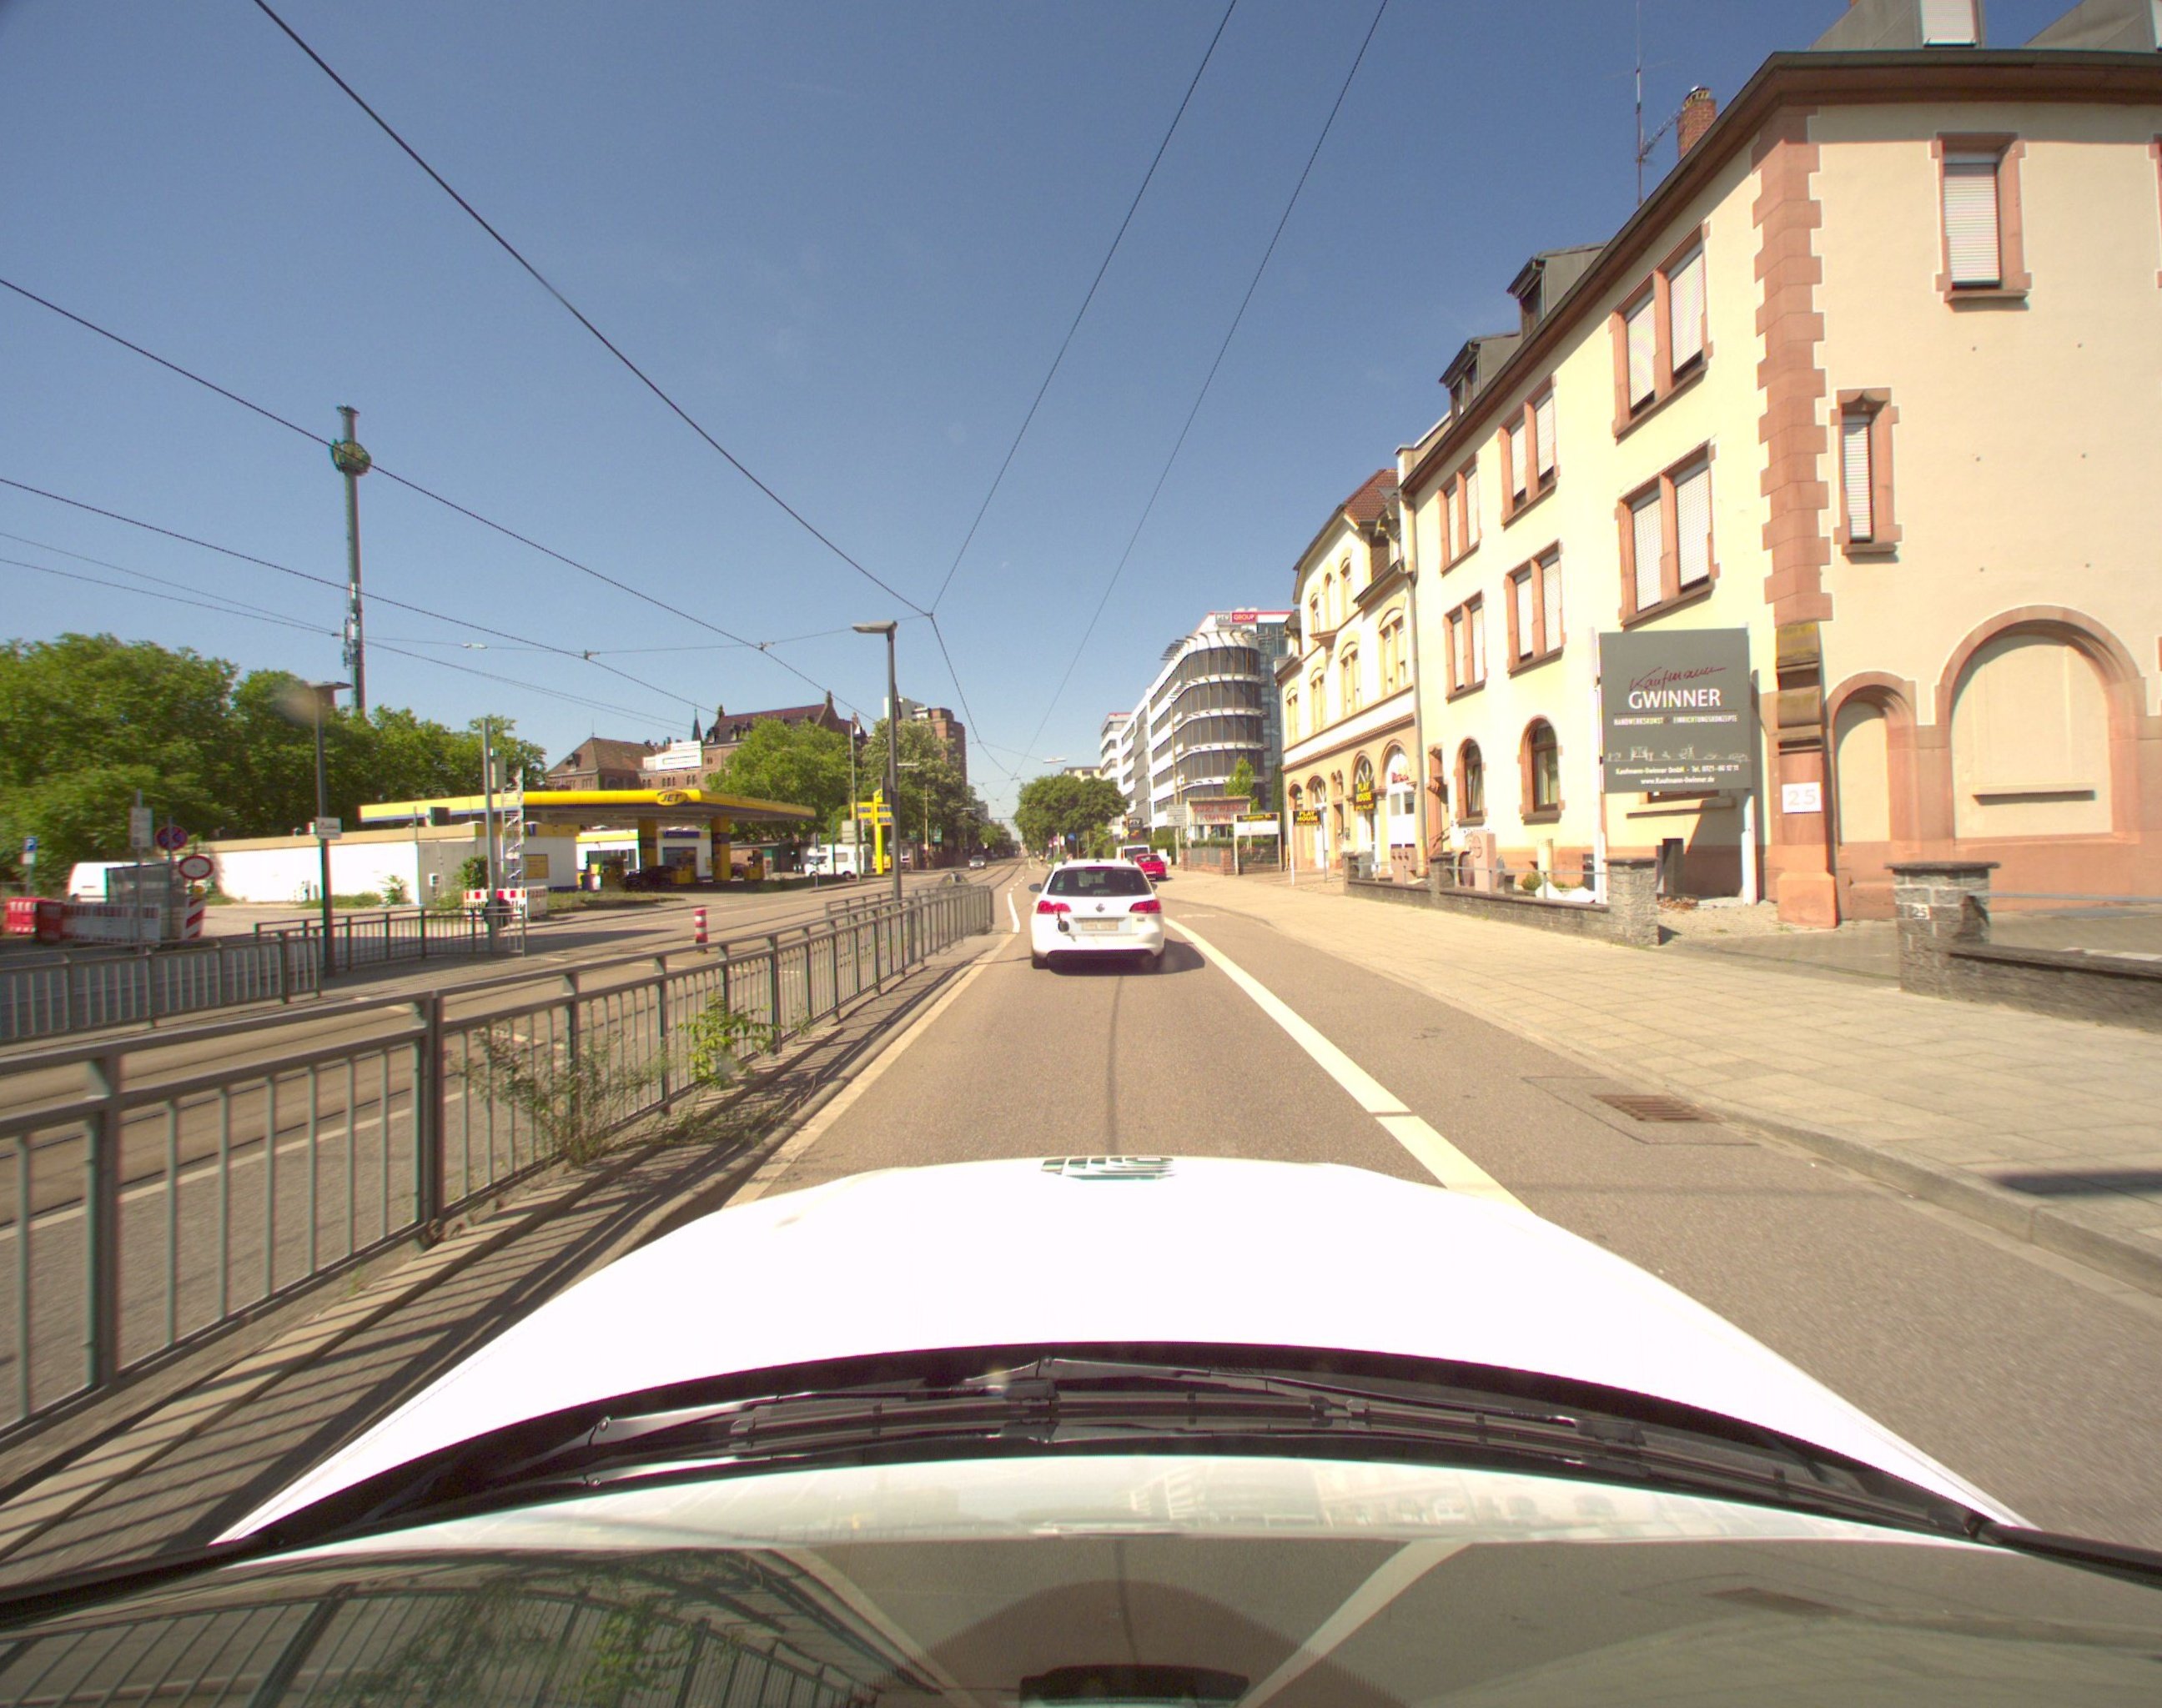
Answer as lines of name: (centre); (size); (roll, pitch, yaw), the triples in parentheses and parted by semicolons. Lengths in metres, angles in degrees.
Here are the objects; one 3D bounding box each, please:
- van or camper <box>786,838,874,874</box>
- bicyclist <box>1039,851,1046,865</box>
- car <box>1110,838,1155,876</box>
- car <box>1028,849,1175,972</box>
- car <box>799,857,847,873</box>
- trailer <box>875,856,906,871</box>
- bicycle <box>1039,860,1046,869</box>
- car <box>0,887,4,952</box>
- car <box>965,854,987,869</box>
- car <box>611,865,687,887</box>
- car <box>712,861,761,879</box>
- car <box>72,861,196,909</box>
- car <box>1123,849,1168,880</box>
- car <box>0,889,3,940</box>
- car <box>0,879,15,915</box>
van or camper: (-21.502, 0.188, 69.985); (6.671, 2.967, 2.615); (1, 0, -1)
bicyclist: (-4.660, 0.513, 98.213); (0.784, 1.629, 0.737); (2, -1, -3)
car: (3.053, 0.171, 49.043); (1.972, 2.054, 5.185); (-4, 0, -3)
car: (0.157, 0.660, 12.018); (1.749, 1.442, 4.408); (-1, 0, -3)
car: (-27.714, 1.166, 87.594); (1.924, 1.583, 4.607); (-2, 0, 41)
trailer: (-21.903, 1.083, 93.759); (3.208, 1.525, 1.776); (-2, 0, -3)
bicycle: (-4.682, 1.294, 98.143); (0.809, 1.078, 2.010); (-2, 0, -3)
car: (-27.041, 1.548, 19.258); (3.948, 1.423, 1.813); (0, 0, 36)
car: (-12.098, 0.860, 94.031); (1.739, 1.571, 3.893); (-3, 0, 2)
car: (-28.472, 1.412, 53.800); (1.682, 1.303, 4.413); (0, 0, 21)
car: (-33.190, 1.544, 78.506); (4.122, 1.527, 1.948); (-2, 0, 21)
car: (-50.340, 1.642, 43.294); (5.596, 2.327, 2.340); (-2, 0, 19)
car: (3.350, 0.511, 42.874); (1.718, 1.443, 4.307); (-4, 0, -3)
car: (-30.633, 1.677, 20.326); (1.848, 1.366, 4.075); (-2, 0, 17)
car: (-45.838, 1.795, 32.097); (1.813, 1.430, 4.262); (0, 0, 15)
